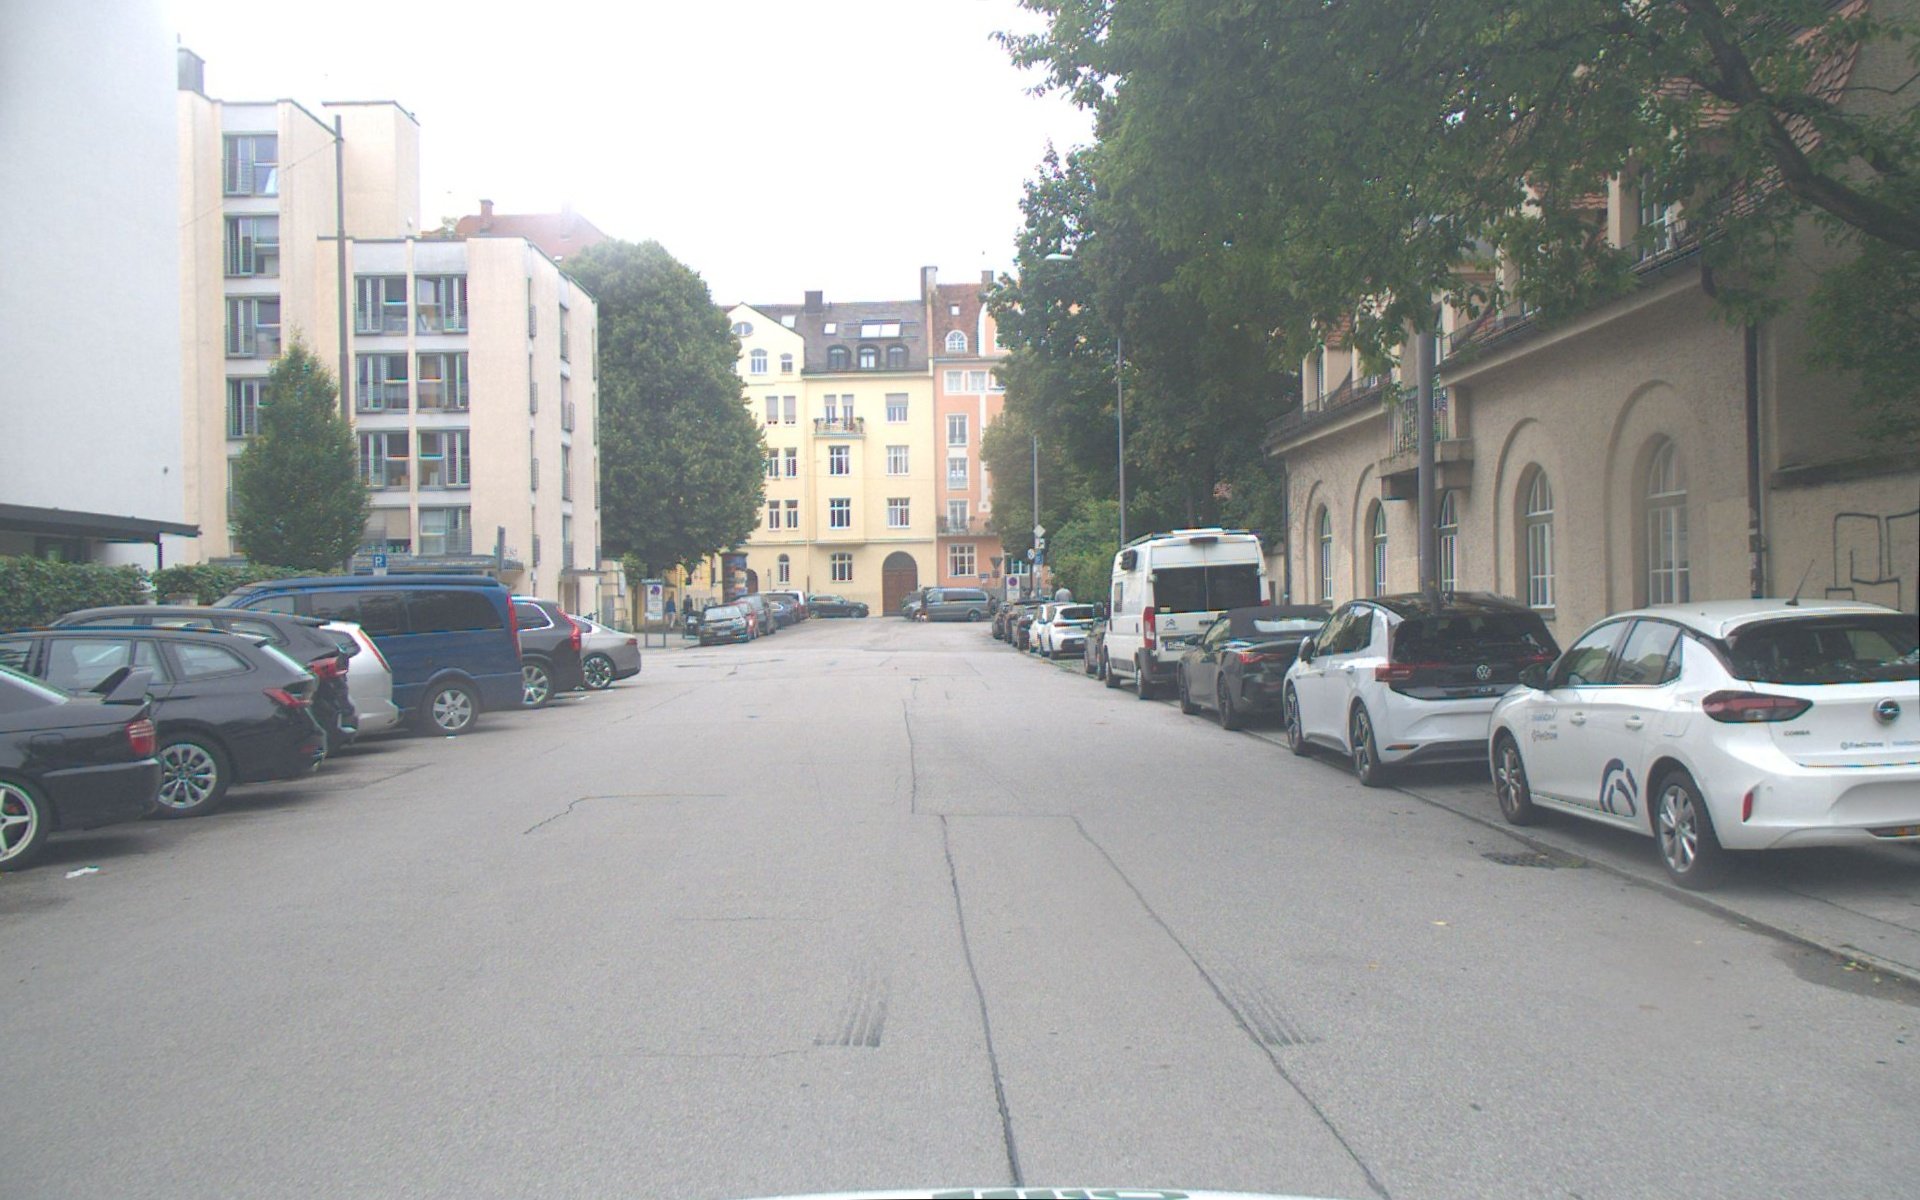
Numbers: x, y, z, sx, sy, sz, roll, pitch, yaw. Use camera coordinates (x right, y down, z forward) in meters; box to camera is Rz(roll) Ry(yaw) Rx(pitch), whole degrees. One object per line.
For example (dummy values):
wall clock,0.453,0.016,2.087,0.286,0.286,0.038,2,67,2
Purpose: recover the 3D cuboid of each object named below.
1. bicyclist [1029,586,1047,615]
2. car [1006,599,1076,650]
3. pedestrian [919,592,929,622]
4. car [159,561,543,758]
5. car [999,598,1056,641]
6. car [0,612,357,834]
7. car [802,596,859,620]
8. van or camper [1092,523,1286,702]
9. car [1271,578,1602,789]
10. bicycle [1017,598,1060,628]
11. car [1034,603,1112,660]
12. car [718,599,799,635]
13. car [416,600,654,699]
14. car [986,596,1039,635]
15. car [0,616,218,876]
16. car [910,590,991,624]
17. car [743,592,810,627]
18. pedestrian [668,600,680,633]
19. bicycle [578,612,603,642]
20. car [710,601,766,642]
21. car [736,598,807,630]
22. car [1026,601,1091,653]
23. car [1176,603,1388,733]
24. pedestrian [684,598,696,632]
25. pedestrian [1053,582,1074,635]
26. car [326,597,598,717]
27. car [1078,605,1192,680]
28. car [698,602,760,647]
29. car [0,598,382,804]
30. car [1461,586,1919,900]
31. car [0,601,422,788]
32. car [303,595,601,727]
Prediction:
bicyclist,4.057,0.032,86.521,0.754,1.537,0.652,0,0,-19
car,2.678,0.793,55.335,1.768,1.491,3.834,-2,2,-5
pedestrian,-2.006,0.385,91.776,0.454,1.686,0.572,-1,0,-7
car,-7.490,0.655,20.439,4.162,2.102,1.719,-3,0,-31
car,2.450,0.680,60.766,1.637,1.367,3.834,-2,2,-4
car,-6.953,0.936,12.848,4.148,1.487,1.725,-3,0,-23
car,-9.218,0.536,118.003,3.906,1.614,1.703,-1,0,-1
van or camper,3.674,0.184,27.770,2.148,2.594,5.725,-2,0,-2
car,4.147,0.656,15.122,1.673,1.564,4.239,-3,0,-1
bicycle,4.092,0.688,86.529,2.183,1.537,0.652,0,0,-20
car,3.099,0.852,46.112,1.673,1.432,4.128,-2,0,-3
car,-10.391,0.858,85.435,3.908,1.534,1.839,-4,0,-2
car,-8.143,0.911,31.783,4.070,1.637,1.717,-3,0,-34
car,2.061,0.591,65.676,1.637,1.367,3.834,-2,2,-4
car,-6.921,0.948,10.069,4.165,1.487,1.718,-3,0,-33
car,-0.574,0.388,95.782,4.610,1.913,1.839,-1,0,-4
car,-11.322,0.571,102.161,3.908,1.830,1.839,-4,0,-2
pedestrian,-14.633,0.855,84.617,0.559,1.686,0.464,-1,0,-1
bicycle,-15.125,1.084,67.668,0.625,1.169,2.423,0,0,-4
car,-9.261,0.894,69.277,1.797,1.534,3.999,-4,0,-1
car,-11.066,0.815,97.378,3.908,1.534,1.839,-4,0,-2
car,2.992,0.805,51.052,1.672,1.491,3.837,-2,0,-1
car,3.930,0.771,20.910,1.673,1.393,4.439,-2,0,-1
pedestrian,-13.813,0.770,84.586,0.559,1.686,0.464,-1,0,-1
pedestrian,4.006,0.319,64.137,0.757,2.049,0.562,-1,0,-2
car,-8.382,0.911,27.938,4.067,1.738,1.718,-3,0,-32
car,3.547,0.829,34.171,1.673,1.393,4.128,-2,0,-3
car,-8.817,0.915,63.337,1.797,1.534,3.999,-4,0,-1
car,-7.704,0.897,15.402,4.155,1.637,1.722,-3,0,-27
car,4.509,0.695,9.993,1.651,1.466,3.999,-2,0,-1
car,-8.081,0.927,17.627,4.162,1.637,1.719,-3,0,-31
car,-7.821,0.893,25.573,4.067,1.738,1.718,-3,0,-32
